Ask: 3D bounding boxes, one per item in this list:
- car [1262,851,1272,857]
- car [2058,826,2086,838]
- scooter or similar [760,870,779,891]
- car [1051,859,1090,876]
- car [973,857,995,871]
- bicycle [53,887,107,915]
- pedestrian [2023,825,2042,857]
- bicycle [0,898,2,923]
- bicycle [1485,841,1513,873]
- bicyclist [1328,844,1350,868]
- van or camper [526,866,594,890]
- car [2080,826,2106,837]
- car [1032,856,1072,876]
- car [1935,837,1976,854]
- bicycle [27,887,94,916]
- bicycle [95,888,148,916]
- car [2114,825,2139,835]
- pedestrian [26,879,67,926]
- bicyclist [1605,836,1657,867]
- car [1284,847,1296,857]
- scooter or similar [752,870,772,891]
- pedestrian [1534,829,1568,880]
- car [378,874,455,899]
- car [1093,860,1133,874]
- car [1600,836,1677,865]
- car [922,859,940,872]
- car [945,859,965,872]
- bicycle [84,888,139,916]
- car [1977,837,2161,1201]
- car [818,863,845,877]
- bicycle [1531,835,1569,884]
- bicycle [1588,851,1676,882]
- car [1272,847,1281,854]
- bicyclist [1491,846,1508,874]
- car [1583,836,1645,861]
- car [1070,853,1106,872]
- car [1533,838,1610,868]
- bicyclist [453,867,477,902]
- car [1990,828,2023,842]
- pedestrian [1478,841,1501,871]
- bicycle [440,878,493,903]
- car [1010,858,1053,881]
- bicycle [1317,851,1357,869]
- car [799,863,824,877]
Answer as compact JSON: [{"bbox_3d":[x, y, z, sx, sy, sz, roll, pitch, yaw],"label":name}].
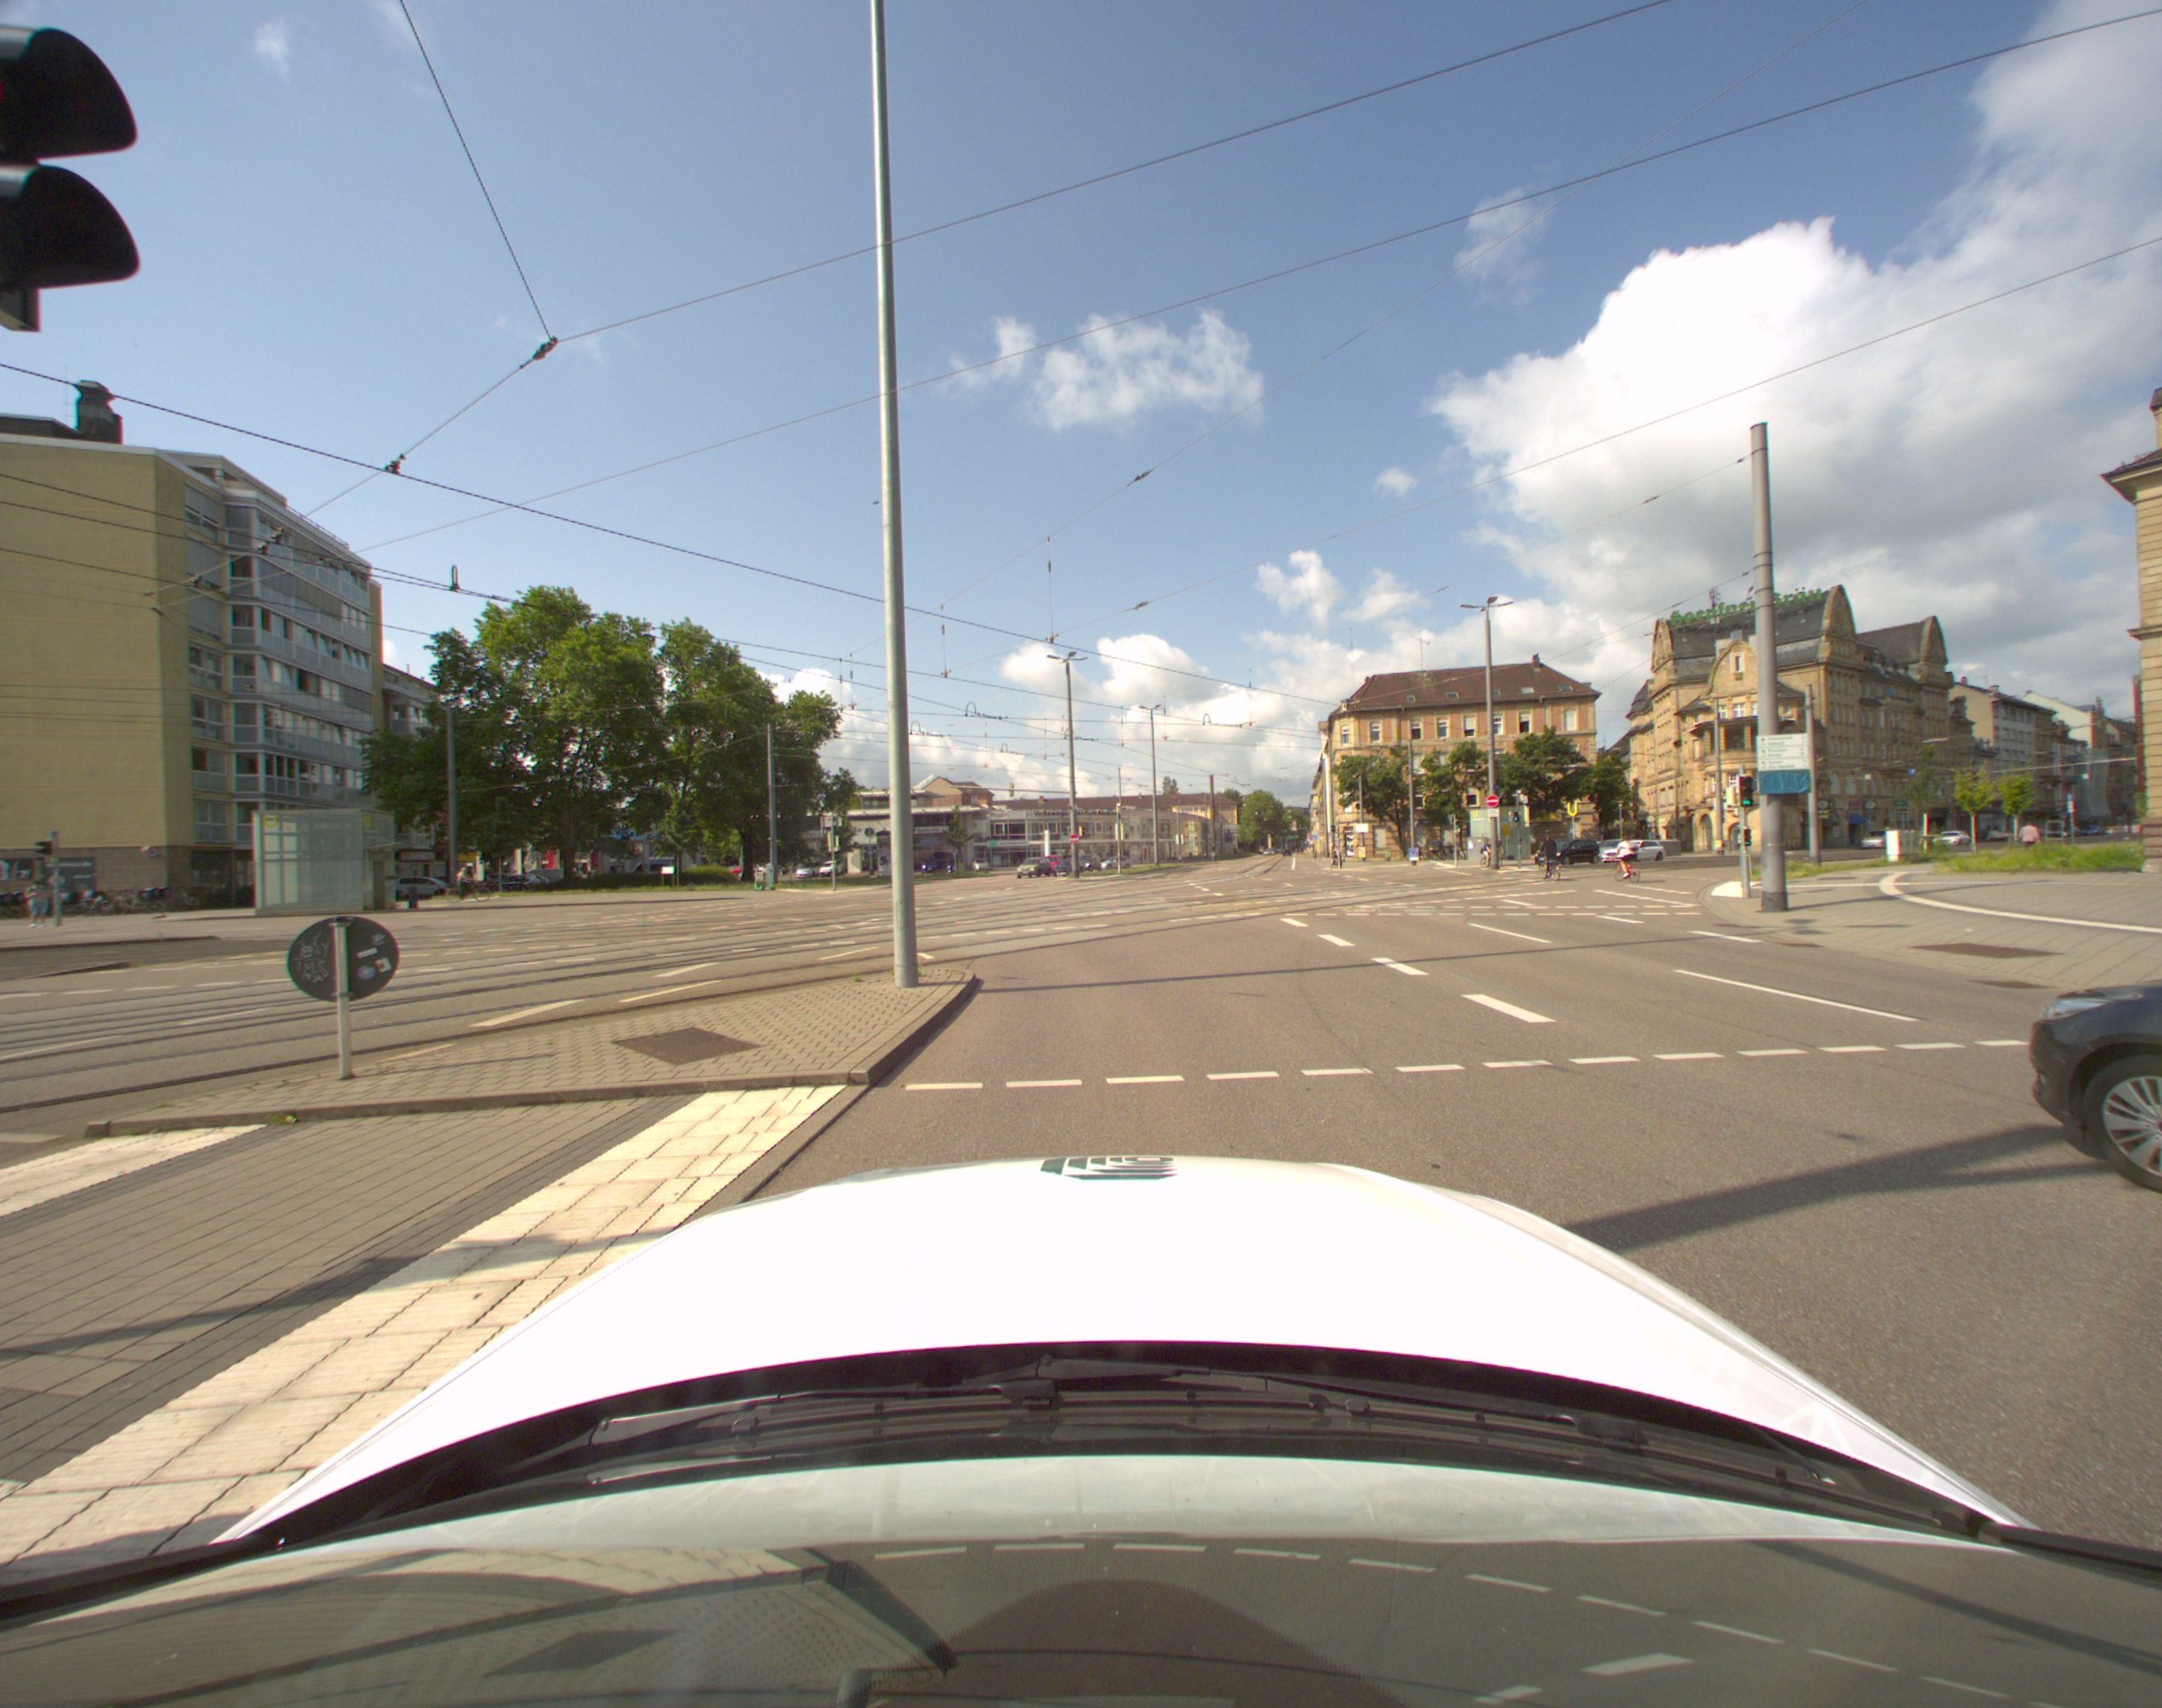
[{"bbox_3d":[43.373,-0.075,189.974,1.981,1.332,4.012,-2,0,11],"label":"car"},{"bbox_3d":[136.347,-3.012,112.027,3.833,1.538,1.834,-2,0,-29],"label":"car"},{"bbox_3d":[-18.003,1.515,47.019,0.377,1.157,0.935,3,1,34],"label":"scooter or similar"},{"bbox_3d":[-0.692,0.941,57.630,1.609,1.161,4.017,-1,0,16],"label":"car"},{"bbox_3d":[-11.414,1.129,96.311,1.912,1.552,4.002,-2,0,2],"label":"car"},{"bbox_3d":[-47.812,2.225,38.912,1.641,1.272,0.486,3,-2,-12],"label":"bicycle"},{"bbox_3d":[45.066,-0.619,38.575,0.501,1.505,0.501,-1,-1,-34],"label":"pedestrian"},{"bbox_3d":[-51.346,2.606,37.740,1.641,1.202,0.486,3,-2,-12],"label":"bicycle"},{"bbox_3d":[24.424,0.173,47.646,0.728,1.777,1.635,-1,0,-3],"label":"bicycle"},{"bbox_3d":[18.454,0.145,58.192,1.197,1.658,0.781,-3,0,-20],"label":"bicyclist"},{"bbox_3d":[-56.603,2.556,88.501,5.855,2.469,2.394,-1,0,1],"label":"van or camper"},{"bbox_3d":[149.332,-3.370,120.166,3.833,1.538,1.834,-2,0,-29],"label":"car"},{"bbox_3d":[-2.236,0.924,64.188,1.978,1.519,4.017,-1,0,16],"label":"car"},{"bbox_3d":[84.428,-0.827,78.626,4.011,1.662,1.834,-1,0,-29],"label":"car"},{"bbox_3d":[-47.958,2.226,38.288,1.893,1.272,0.484,3,1,-25],"label":"bicycle"},{"bbox_3d":[-46.445,2.308,39.426,1.641,1.272,0.486,3,-2,-12],"label":"bicycle"},{"bbox_3d":[163.694,-3.764,127.479,3.833,1.538,1.834,-2,0,-29],"label":"car"},{"bbox_3d":[-40.164,1.859,31.631,0.790,1.759,0.983,-1,-1,-41],"label":"pedestrian"},{"bbox_3d":[19.372,-0.088,28.732,0.987,1.028,1.214,0,-3,-1],"label":"bicyclist"},{"bbox_3d":[40.221,-0.390,156.789,1.977,2.013,4.019,-2,0,18],"label":"car"},{"bbox_3d":[-18.520,1.524,47.294,0.935,1.157,0.377,2,1,-44],"label":"scooter or similar"},{"bbox_3d":[17.458,0.020,30.274,0.983,1.841,1.002,-1,0,25],"label":"pedestrian"},{"bbox_3d":[-45.666,2.202,56.048,3.572,1.530,1.988,-1,0,-18],"label":"car"},{"bbox_3d":[3.546,1.410,89.135,1.759,1.464,4.508,-1,0,45],"label":"car"},{"bbox_3d":[35.390,-0.244,51.673,4.696,1.595,1.982,-3,1,-27],"label":"car"},{"bbox_3d":[-17.396,1.295,94.667,1.919,1.445,3.986,-2,0,-10],"label":"car"},{"bbox_3d":[-14.548,1.278,94.383,1.916,1.445,3.994,-2,0,-4],"label":"car"},{"bbox_3d":[-46.299,2.304,38.908,1.641,1.272,0.529,3,-2,-12],"label":"bicycle"},{"bbox_3d":[5.544,0.696,2.072,1.762,1.528,4.254,-4,0,-1],"label":"car"},{"bbox_3d":[-29.219,1.851,95.379,2.063,1.604,3.994,-2,0,-4],"label":"car"},{"bbox_3d":[17.412,0.195,30.300,0.996,1.725,2.483,-1,0,25],"label":"bicycle"},{"bbox_3d":[19.368,0.462,28.757,0.990,1.028,3.108,0,-2,0],"label":"bicycle"},{"bbox_3d":[48.803,-0.918,203.185,1.980,1.491,4.014,-2,0,12],"label":"car"},{"bbox_3d":[24.449,0.350,47.579,0.571,1.671,0.655,-1,0,-3],"label":"bicyclist"},{"bbox_3d":[36.727,-0.373,56.115,4.007,1.600,1.740,-2,0,-26],"label":"car"},{"bbox_3d":[0.630,0.699,72.015,1.977,1.552,4.019,-2,0,19],"label":"car"},{"bbox_3d":[29.474,-0.068,48.942,4.351,1.739,1.982,-1,0,-27],"label":"car"},{"bbox_3d":[-30.844,1.516,40.793,0.830,1.745,0.705,-1,0,-29],"label":"bicyclist"},{"bbox_3d":[110.614,-2.307,97.333,3.833,1.538,1.834,-2,0,-29],"label":"car"},{"bbox_3d":[24.921,0.124,49.710,0.865,1.810,0.883,-1,0,-12],"label":"pedestrian"},{"bbox_3d":[-30.795,1.823,40.841,1.997,1.127,0.782,-1,0,-29],"label":"bicycle"},{"bbox_3d":[-3.480,1.077,58.113,1.806,1.513,4.017,-1,0,16],"label":"car"},{"bbox_3d":[18.252,0.406,58.124,2.680,1.170,0.895,-3,0,-20],"label":"bicycle"},{"bbox_3d":[-31.593,1.843,95.534,1.992,1.574,3.989,-1,0,-8],"label":"car"}]
